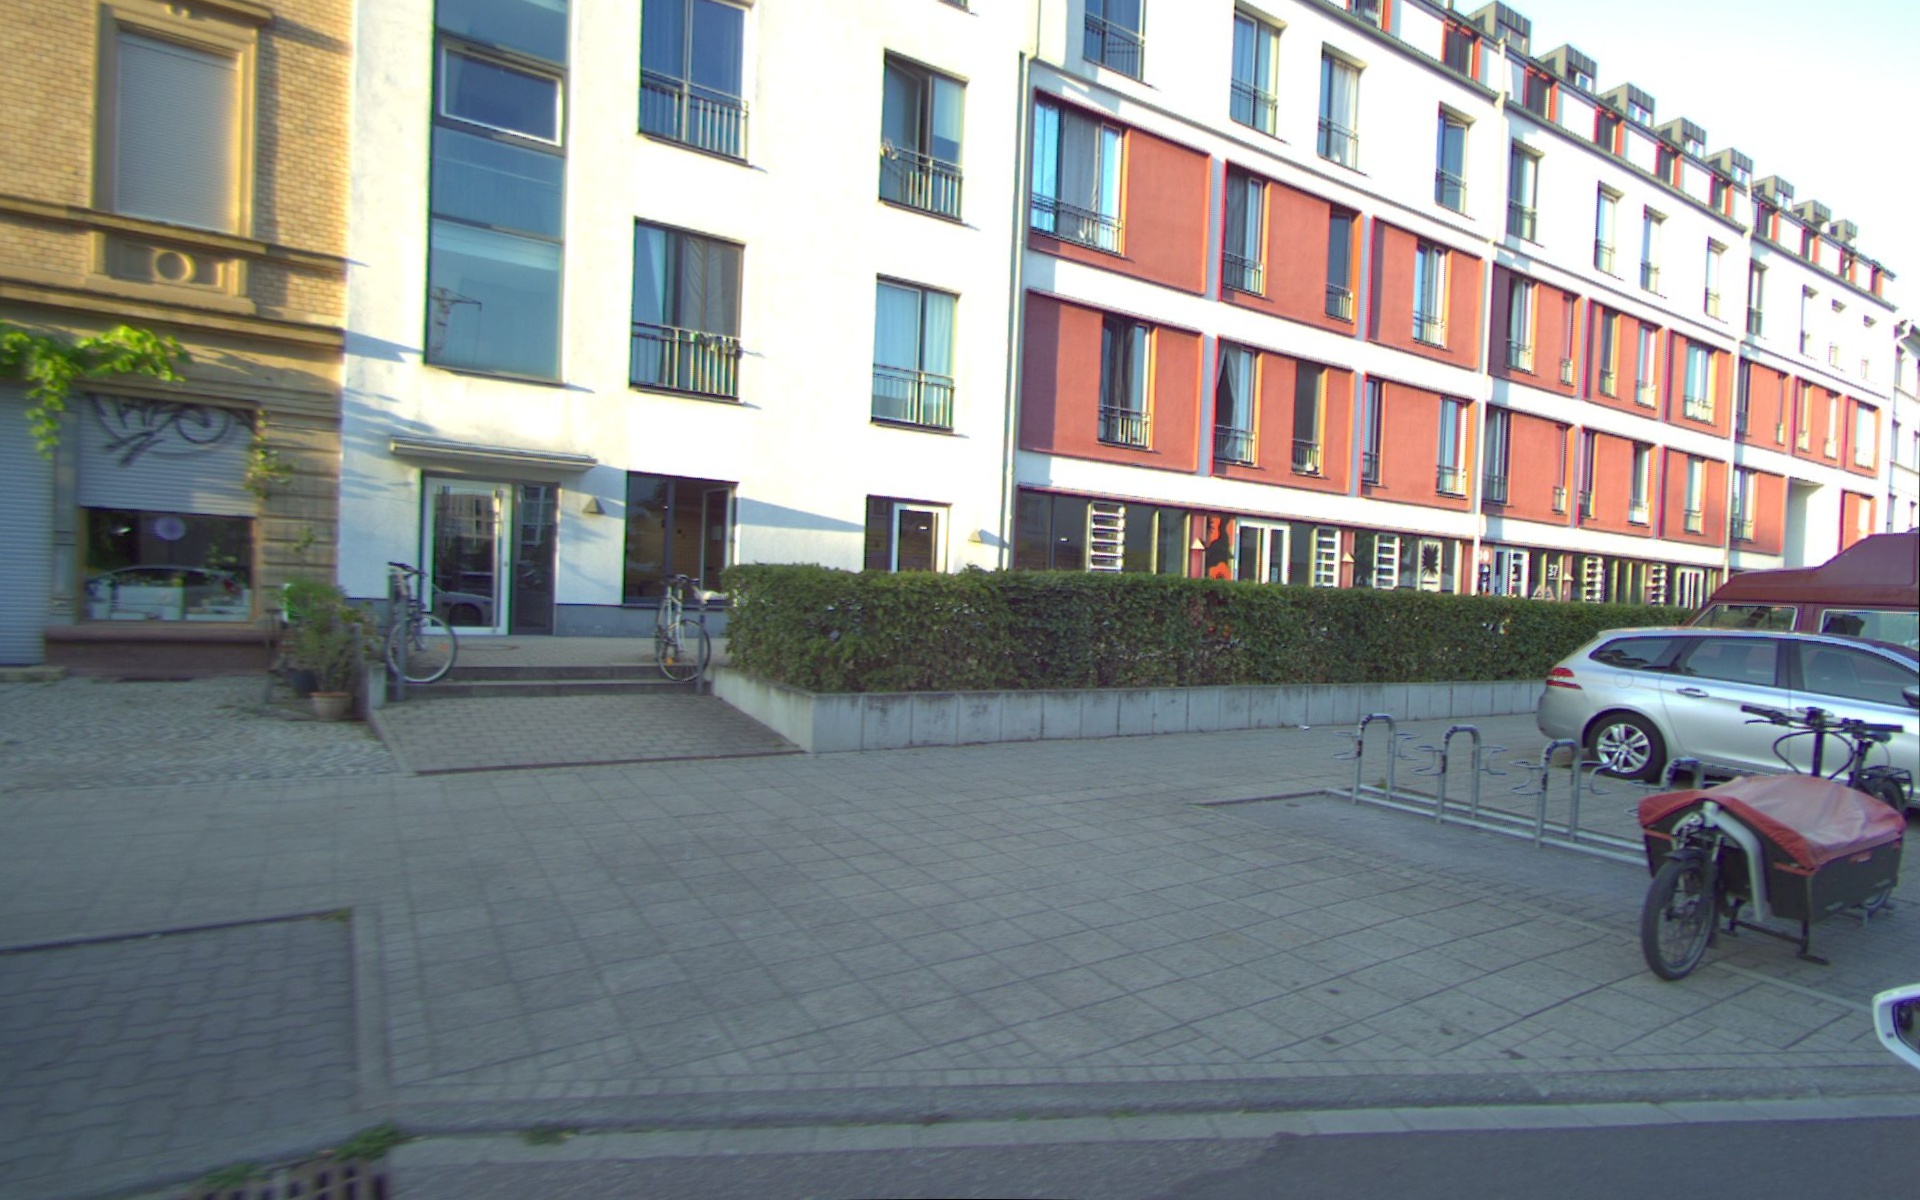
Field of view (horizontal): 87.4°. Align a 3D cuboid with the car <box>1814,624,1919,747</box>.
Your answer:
[{"bbox_3d":[14.066,1.261,12.978,1.817,1.558,4.195,2,2,-25],"label":"car"}]

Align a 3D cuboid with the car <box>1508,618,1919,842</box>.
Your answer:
[{"bbox_3d":[7.623,1.076,8.772,1.862,1.480,4.586,2,2,-34],"label":"car"}]

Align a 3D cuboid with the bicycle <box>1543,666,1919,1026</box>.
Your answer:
[{"bbox_3d":[3.993,0.976,4.740,2.832,1.238,0.803,2,2,-31],"label":"bicycle"}]

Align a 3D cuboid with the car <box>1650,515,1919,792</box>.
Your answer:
[{"bbox_3d":[9.929,0.539,10.030,1.976,2.619,4.490,2,2,-29],"label":"car"}]

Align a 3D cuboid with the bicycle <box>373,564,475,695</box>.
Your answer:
[{"bbox_3d":[-5.447,0.254,10.157,0.802,1.157,1.906,2,2,-30],"label":"bicycle"}]

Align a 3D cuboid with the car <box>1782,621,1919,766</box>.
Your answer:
[{"bbox_3d":[12.153,1.182,11.229,1.772,1.558,4.184,2,2,-33],"label":"car"}]

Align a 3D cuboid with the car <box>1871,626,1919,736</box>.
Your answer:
[{"bbox_3d":[15.965,1.340,14.167,1.979,1.596,4.184,2,2,-33],"label":"car"}]

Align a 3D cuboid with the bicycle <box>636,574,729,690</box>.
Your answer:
[{"bbox_3d":[-3.186,0.324,11.428,0.603,1.163,1.768,2,2,-28],"label":"bicycle"}]
